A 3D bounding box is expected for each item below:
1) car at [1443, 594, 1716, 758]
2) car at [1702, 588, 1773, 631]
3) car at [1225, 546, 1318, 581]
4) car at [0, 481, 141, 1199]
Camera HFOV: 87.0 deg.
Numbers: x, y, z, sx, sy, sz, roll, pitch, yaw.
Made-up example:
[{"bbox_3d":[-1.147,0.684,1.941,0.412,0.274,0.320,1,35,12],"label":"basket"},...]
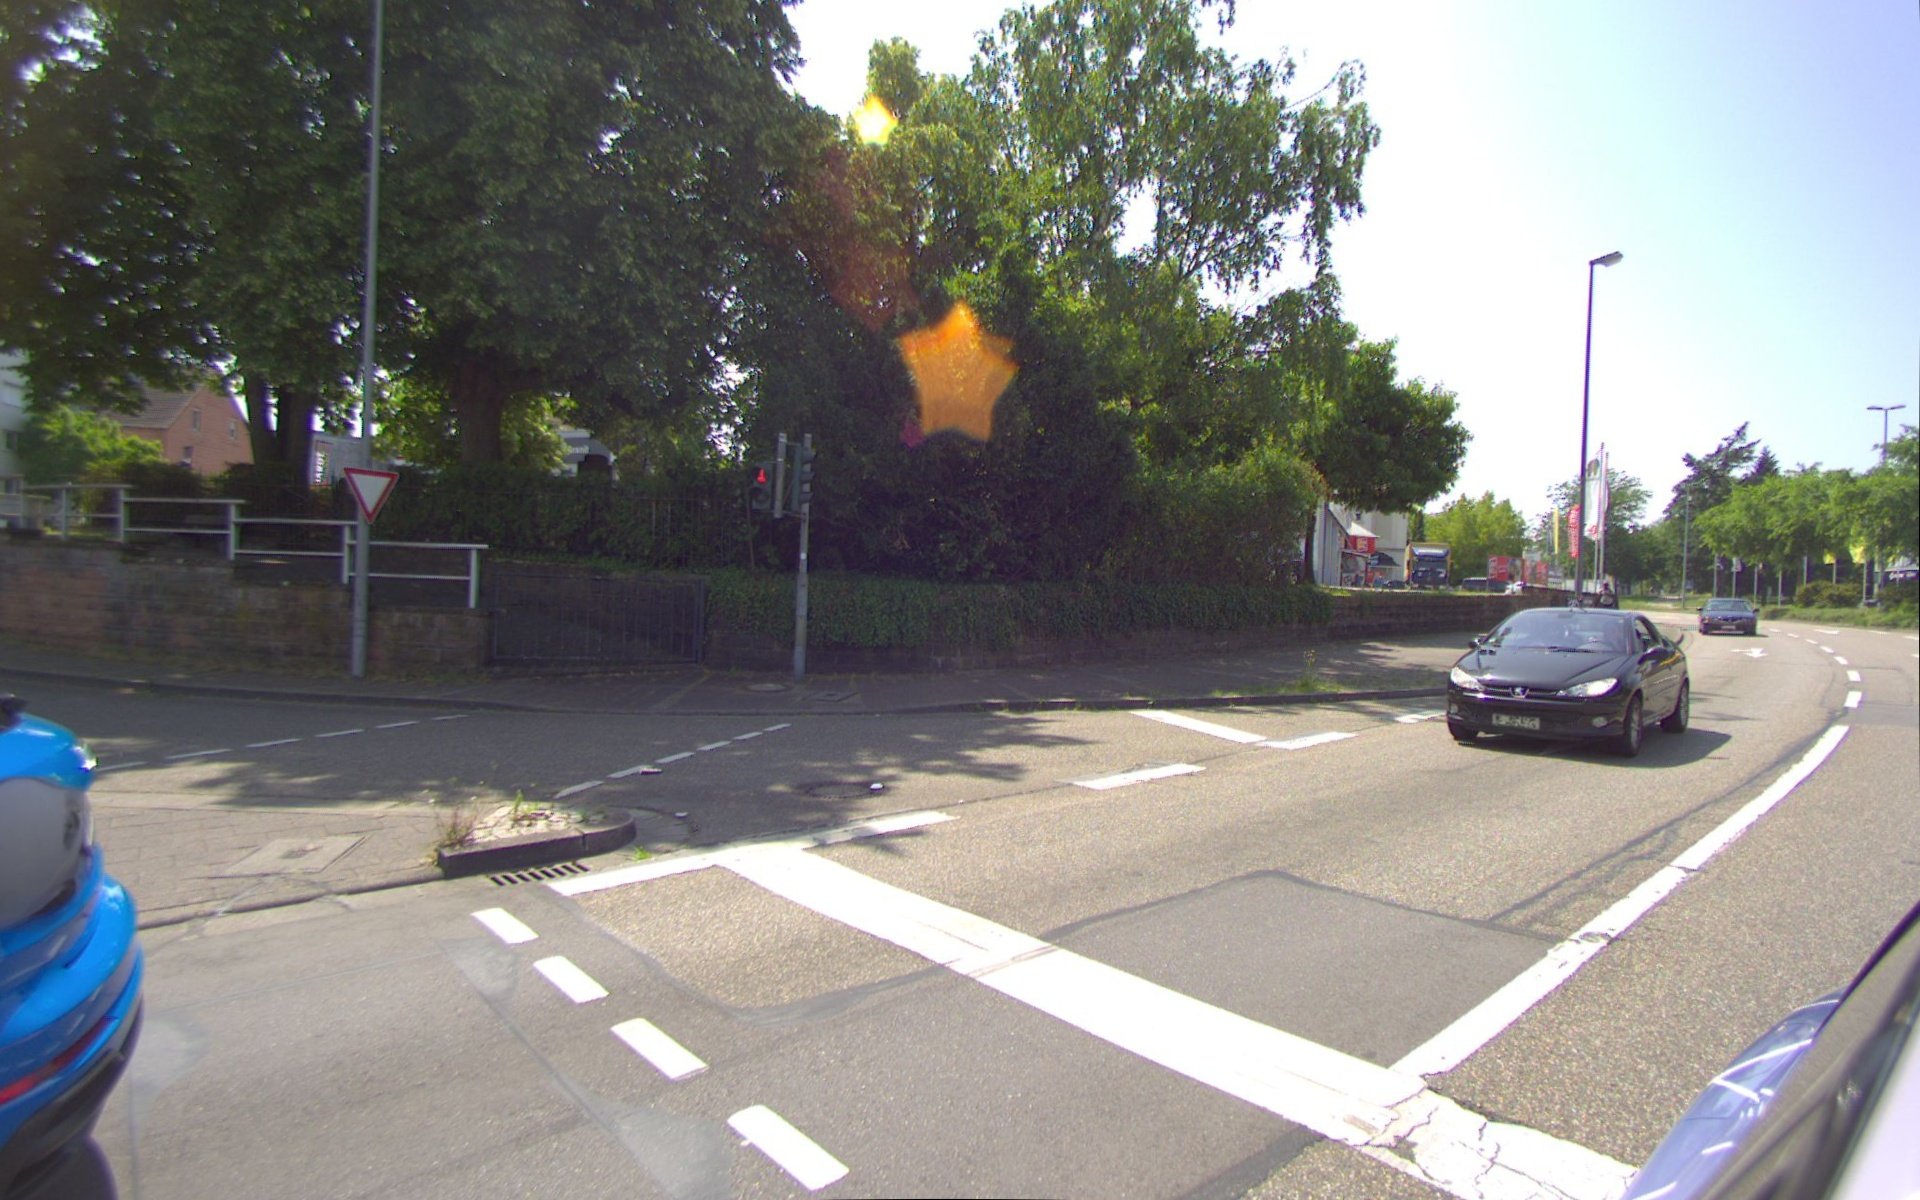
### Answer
[{"bbox_3d":[6.663,0.674,10.739,3.600,1.443,1.601,0,0,-43],"label":"car"},{"bbox_3d":[29.139,0.309,38.022,1.686,1.390,3.956,2,3,32],"label":"car"},{"bbox_3d":[14.433,-1.702,46.911,3.959,1.559,1.723,1,1,26],"label":"car"},{"bbox_3d":[-3.740,0.592,1.131,4.320,1.617,1.916,0,1,-42],"label":"car"}]
